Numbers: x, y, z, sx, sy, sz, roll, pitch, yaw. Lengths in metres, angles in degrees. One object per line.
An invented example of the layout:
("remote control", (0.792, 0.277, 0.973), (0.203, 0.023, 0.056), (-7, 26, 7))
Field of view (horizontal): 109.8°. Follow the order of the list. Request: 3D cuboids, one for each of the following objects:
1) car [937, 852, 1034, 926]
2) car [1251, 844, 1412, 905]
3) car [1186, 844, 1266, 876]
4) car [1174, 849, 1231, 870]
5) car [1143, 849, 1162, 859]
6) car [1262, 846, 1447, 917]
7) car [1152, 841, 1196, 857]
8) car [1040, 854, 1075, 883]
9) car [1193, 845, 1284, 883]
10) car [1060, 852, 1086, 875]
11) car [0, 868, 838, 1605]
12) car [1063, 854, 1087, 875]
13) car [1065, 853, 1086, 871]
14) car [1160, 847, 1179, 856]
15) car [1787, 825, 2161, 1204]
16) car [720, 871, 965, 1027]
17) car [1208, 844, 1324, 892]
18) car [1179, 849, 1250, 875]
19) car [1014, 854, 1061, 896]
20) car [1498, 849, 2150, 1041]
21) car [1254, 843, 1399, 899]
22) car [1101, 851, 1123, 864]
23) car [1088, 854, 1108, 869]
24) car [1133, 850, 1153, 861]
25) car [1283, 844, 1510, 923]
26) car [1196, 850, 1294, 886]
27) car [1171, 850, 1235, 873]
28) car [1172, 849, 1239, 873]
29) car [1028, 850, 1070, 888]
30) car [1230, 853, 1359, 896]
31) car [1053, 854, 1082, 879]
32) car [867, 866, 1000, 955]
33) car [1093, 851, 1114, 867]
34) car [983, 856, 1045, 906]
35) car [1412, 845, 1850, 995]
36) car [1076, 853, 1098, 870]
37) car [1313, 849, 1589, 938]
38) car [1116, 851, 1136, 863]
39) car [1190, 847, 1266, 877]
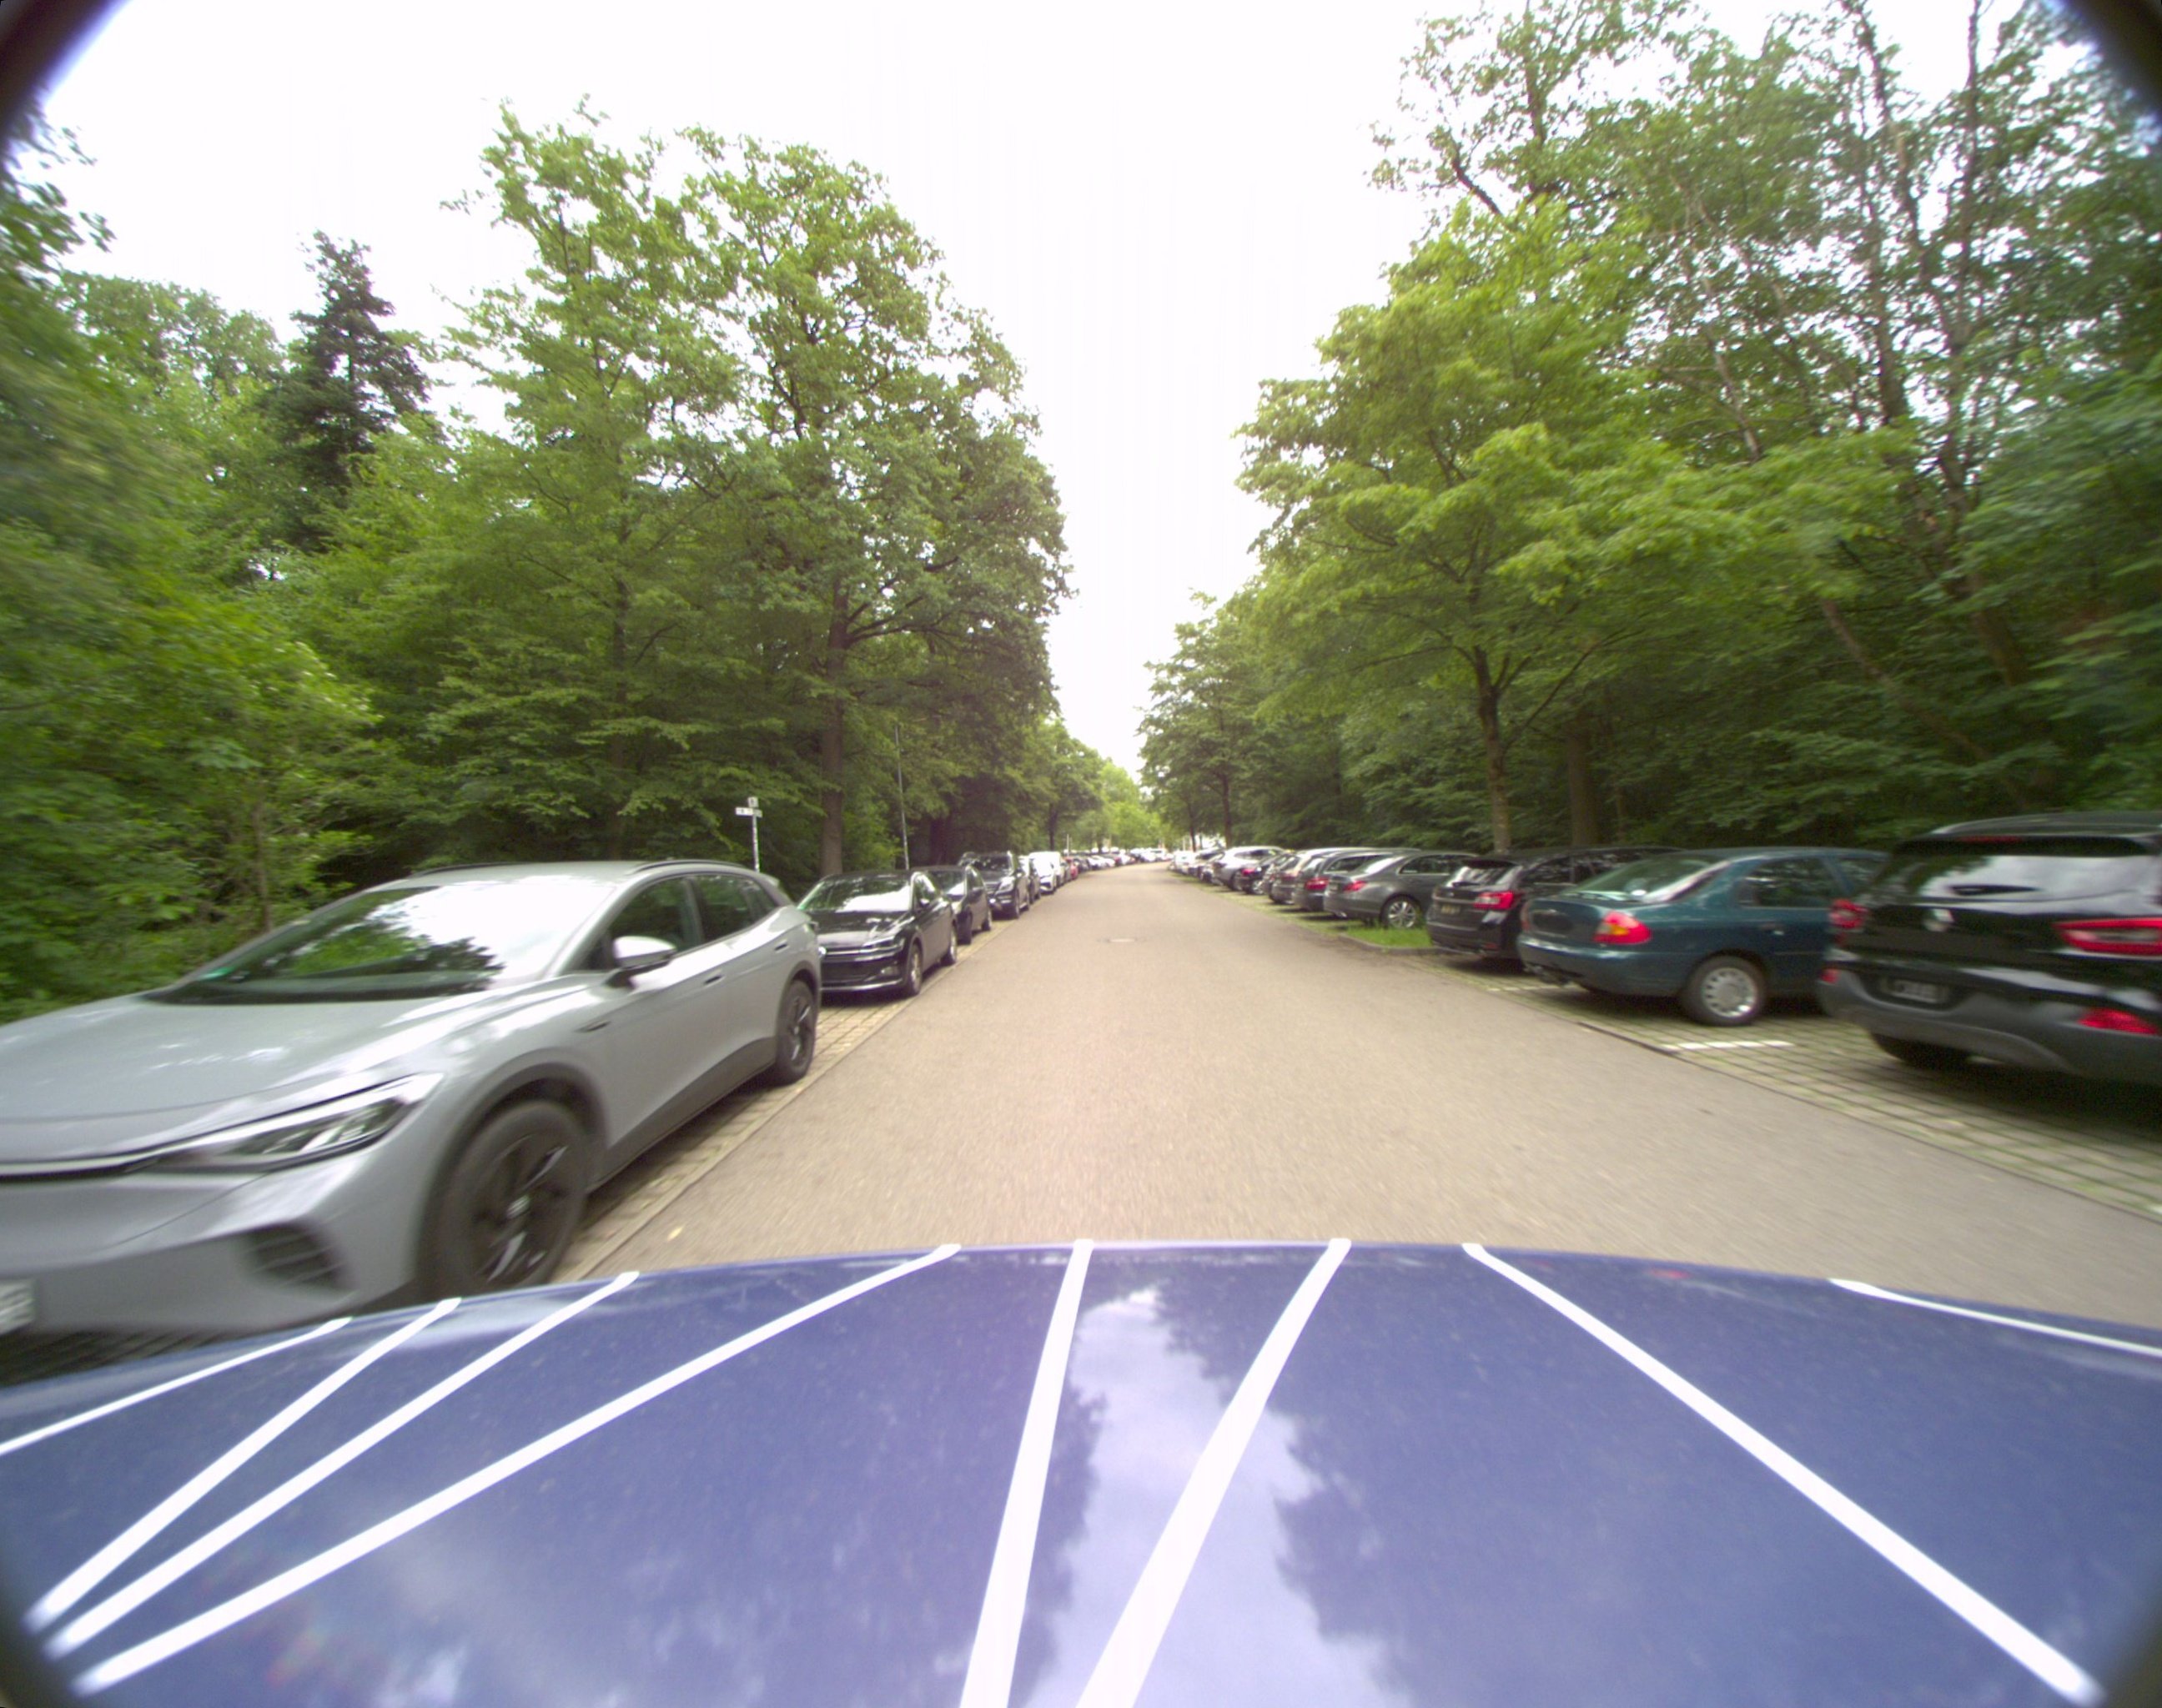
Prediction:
("car", (-2.453, 0.839, 20.609), (1.910, 1.713, 4.485), (-2, 0, 1))
("car", (7.121, 0.554, 21.810), (3.998, 1.508, 1.713), (-3, 1, -5))
("car", (7.905, 0.309, 41.717), (3.998, 1.661, 1.713), (-1, 1, -3))
("car", (9.242, 0.392, 58.079), (3.998, 1.469, 1.713), (-1, 1, -2))
("car", (10.372, 0.035, 109.984), (1.770, 1.308, 3.895), (-2, 0, 20))
("car", (6.794, 0.646, 19.100), (3.998, 1.508, 1.713), (-3, 1, -5))
("car", (9.201, -0.458, 75.150), (3.992, 1.412, 1.783), (-2, 1, 17))
("car", (-1.359, 0.818, 44.750), (1.642, 1.561, 3.666), (-4, 0, 3))
("car", (7.579, 0.460, 36.799), (3.998, 1.699, 1.713), (-1, 1, -3))
("car", (-0.509, 0.633, 53.143), (1.502, 1.470, 3.666), (-3, 0, 3))
("car", (-2.938, 0.953, 3.975), (1.907, 1.577, 4.480), (-2, 0, -1))
("car", (-0.409, 0.781, 58.409), (1.502, 1.470, 3.666), (-3, 0, 3))
("car", (-0.415, 0.663, 65.020), (1.502, 1.470, 3.666), (-2, 0, 3))
("car", (13.747, -0.387, 117.956), (1.769, 1.308, 3.896), (-2, 0, 26))
("car", (6.540, 0.624, 4.014), (3.997, 1.588, 1.741), (-2, 1, 0))
("car", (-2.747, 1.023, 9.781), (1.824, 1.433, 4.000), (-2, 0, 0))
("car", (7.040, 0.509, 29.166), (3.998, 1.717, 1.713), (-1, 1, -3))
("car", (8.201, 0.486, 46.856), (3.998, 1.469, 1.713), (-1, 1, -2))
("car", (-1.770, 0.831, 32.006), (1.580, 1.610, 3.962), (-2, 0, 1))
("car", (6.207, 0.713, 6.770), (3.996, 1.413, 1.742), (-2, 1, 3))
("car", (7.773, 0.513, 24.216), (3.998, 1.508, 1.713), (-3, 1, -5))
("car", (3.515, 0.390, 85.567), (1.771, 1.308, 3.893), (-2, 1, 13))
("car", (1.716, 0.760, 75.737), (1.501, 1.331, 3.434), (-2, 0, 9))
("car", (8.606, 0.195, 105.041), (1.770, 1.308, 3.895), (-2, 0, 20))
("car", (6.785, 0.615, 16.667), (4.221, 1.528, 1.818), (-2, 1, 0))
("car", (7.318, 0.613, 34.134), (3.998, 1.480, 1.713), (-1, 1, -3))
("car", (8.174, 0.486, 51.054), (3.998, 1.469, 1.713), (-1, 1, -2))
("car", (8.005, 0.458, 49.134), (3.998, 1.469, 1.713), (-1, 1, -2))
("car", (-1.584, 0.710, 38.552), (1.642, 1.742, 4.054), (-2, 0, 3))
("car", (7.413, 0.683, 26.579), (3.998, 1.363, 1.713), (-1, 1, -5))
("car", (-0.851, 0.782, 49.301), (1.502, 1.470, 3.666), (-4, 0, 3))
("car", (-2.828, 1.027, 15.515), (1.750, 1.418, 4.189), (-2, 0, 1))
("car", (2.429, 0.494, 80.544), (1.501, 1.470, 3.668), (-2, 1, 13))
("car", (-2.275, 0.898, 26.772), (1.705, 1.529, 3.962), (-2, 0, 1))
("car", (6.361, 0.706, 9.101), (3.998, 1.434, 1.741), (-3, 1, -2))
("car", (0.590, 0.673, 71.527), (1.501, 1.470, 3.668), (-2, 0, 9))
("car", (6.687, 0.695, 14.113), (4.220, 1.448, 1.818), (-2, 1, 4))
("car", (5.657, 0.341, 94.850), (1.771, 1.308, 3.893), (-2, 1, 13))
("car", (8.494, 0.452, 43.995), (3.998, 1.661, 1.713), (-1, 1, -3))
